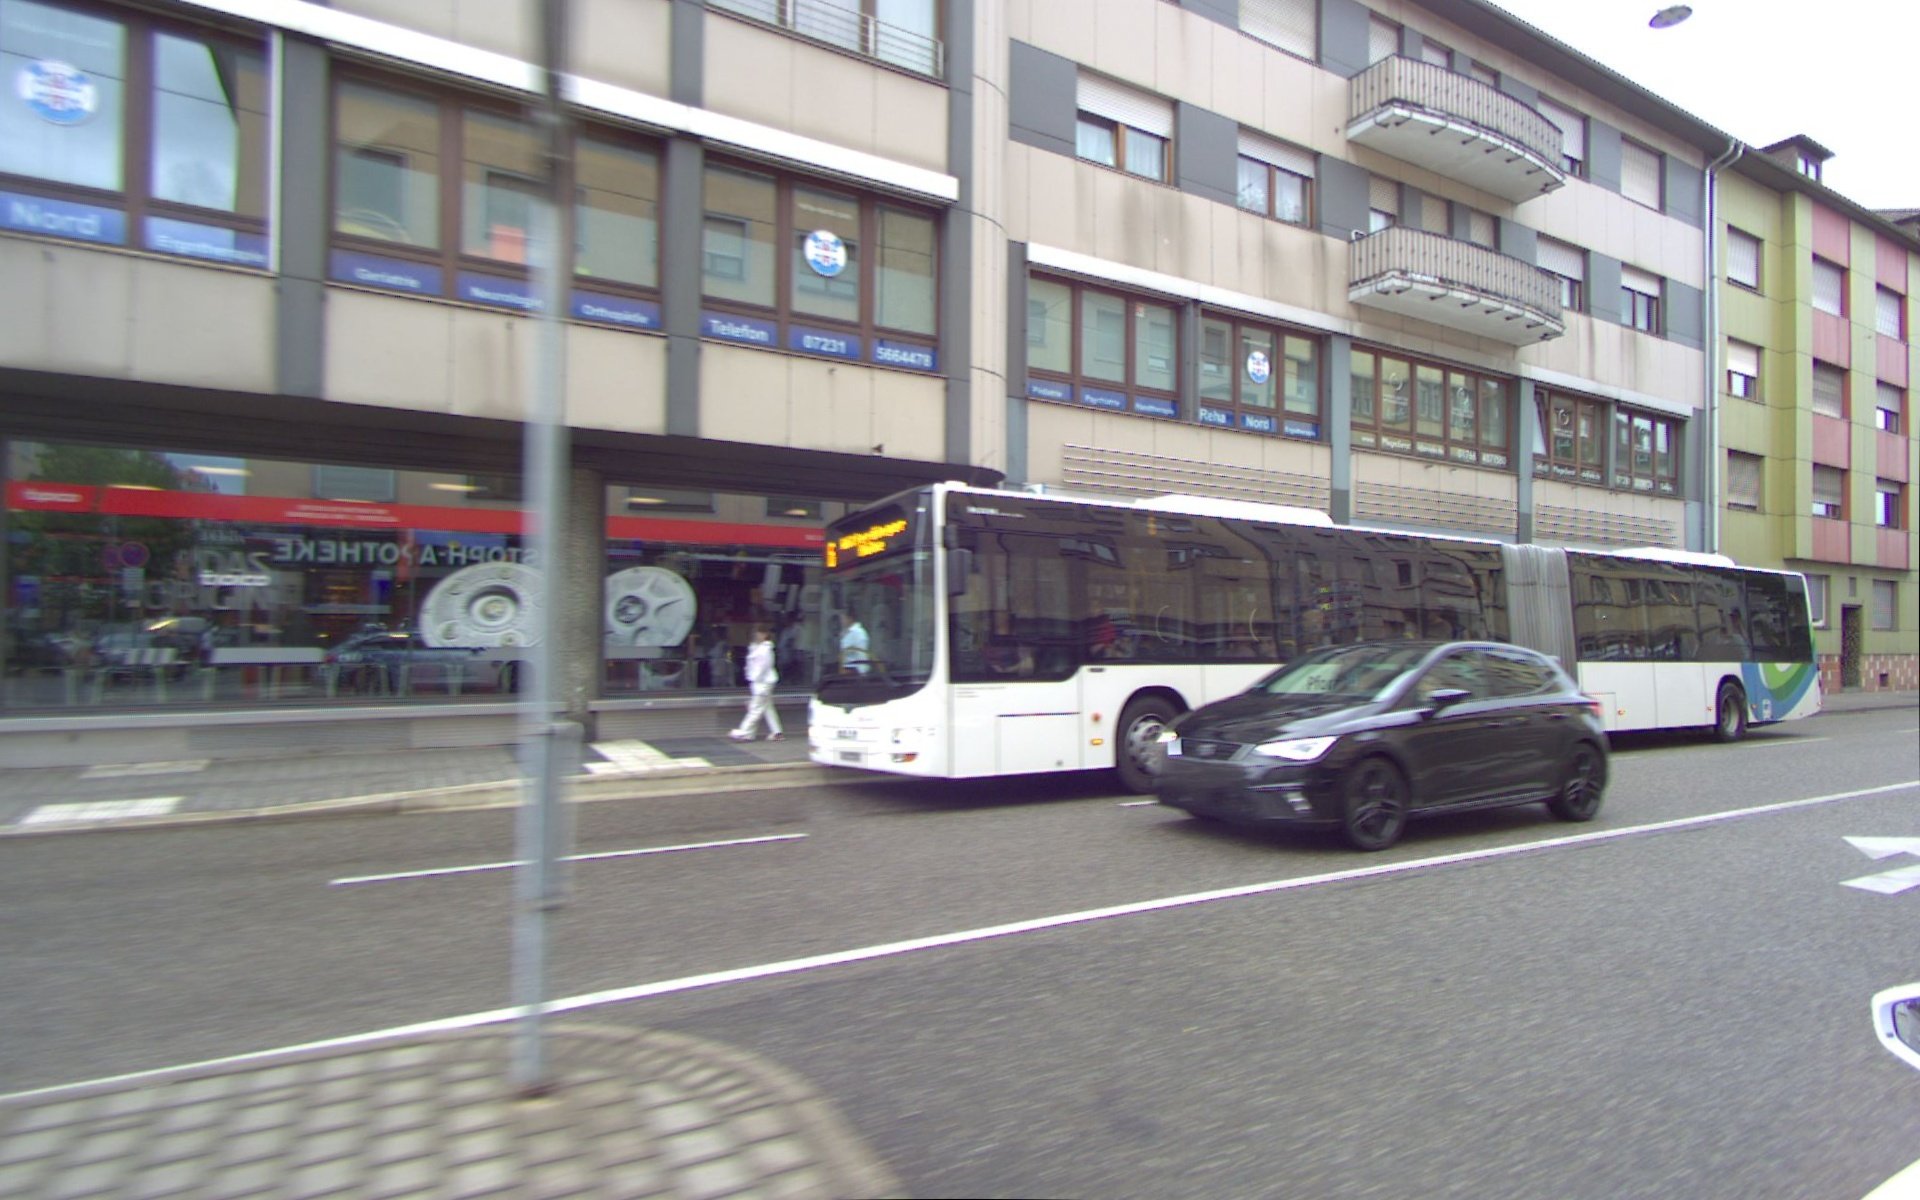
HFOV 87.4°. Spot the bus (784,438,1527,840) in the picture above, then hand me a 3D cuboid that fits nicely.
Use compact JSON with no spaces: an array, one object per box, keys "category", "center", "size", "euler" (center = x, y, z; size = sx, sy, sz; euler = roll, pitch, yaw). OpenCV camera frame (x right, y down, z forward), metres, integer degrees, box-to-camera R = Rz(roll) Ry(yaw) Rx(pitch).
[{"category":"bus","center":[2.650,0.472,11.538],"size":[8.809,3.230,2.745],"euler":[2,-2,-31]}]

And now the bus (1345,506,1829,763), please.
[{"category":"bus","center":[10.361,0.603,16.151],"size":[9.185,3.230,2.712],"euler":[2,-2,-31]}]

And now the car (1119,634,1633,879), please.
[{"category":"car","center":[3.350,1.034,7.883],"size":[4.040,1.470,1.700],"euler":[2,-2,-31]}]

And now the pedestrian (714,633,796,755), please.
[{"category":"pedestrian","center":[-2.507,1.121,12.250],"size":[0.777,1.414,0.765],"euler":[2,-2,-28]}]
